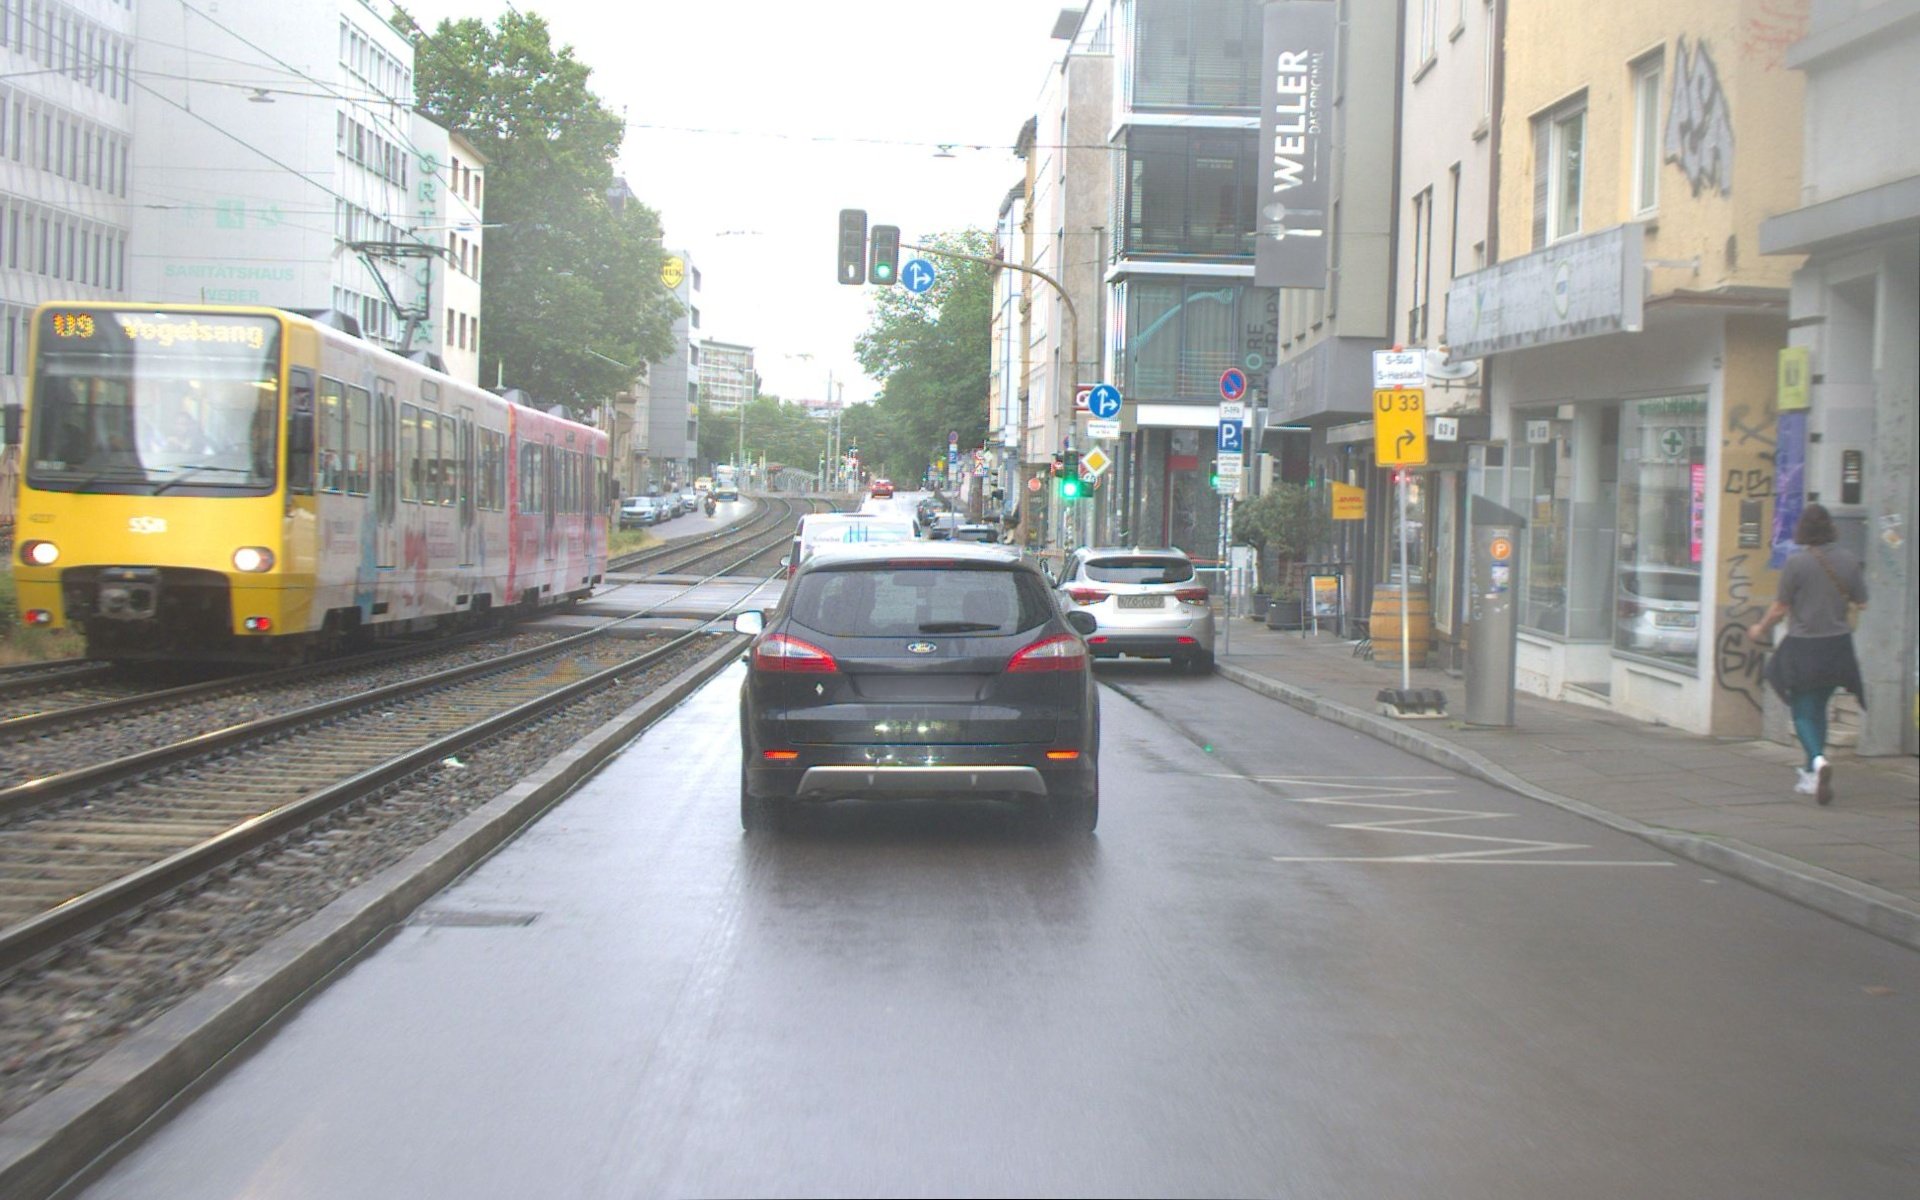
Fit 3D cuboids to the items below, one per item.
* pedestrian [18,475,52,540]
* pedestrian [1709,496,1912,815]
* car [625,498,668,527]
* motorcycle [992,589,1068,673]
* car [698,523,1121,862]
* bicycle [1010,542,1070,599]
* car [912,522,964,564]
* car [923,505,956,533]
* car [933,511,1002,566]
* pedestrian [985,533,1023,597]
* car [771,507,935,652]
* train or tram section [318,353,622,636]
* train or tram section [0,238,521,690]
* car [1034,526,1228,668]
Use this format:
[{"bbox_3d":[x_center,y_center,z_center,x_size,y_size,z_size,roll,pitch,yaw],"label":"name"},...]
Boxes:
[{"bbox_3d":[-25.180,-2.515,93.598,0.740,1.731,0.890,1,1,-5],"label":"pedestrian"},{"bbox_3d":[4.651,0.293,18.841,0.791,1.653,0.721,-5,1,-1],"label":"pedestrian"},{"bbox_3d":[-17.269,-4.846,189.433,1.993,1.514,4.436,2,2,-1],"label":"car"},{"bbox_3d":[1.235,0.544,60.796,1.129,1.456,0.684,0,1,-37],"label":"motorcycle"},{"bbox_3d":[-0.269,0.404,18.560,1.993,1.588,4.272,1,1,-1],"label":"car"},{"bbox_3d":[1.827,-0.680,79.104,0.497,1.254,1.957,1,1,-26],"label":"bicycle"},{"bbox_3d":[-0.871,-2.255,135.193,1.993,1.588,4.572,1,1,-1],"label":"car"},{"bbox_3d":[-1.204,-4.664,198.386,1.738,1.484,4.001,2,2,-2],"label":"car"},{"bbox_3d":[0.206,-1.859,103.693,1.993,1.588,4.272,1,1,-1],"label":"car"},{"bbox_3d":[1.093,-0.869,85.386,0.659,1.577,0.780,1,1,-23],"label":"pedestrian"},{"bbox_3d":[-1.376,-0.300,45.745,1.993,1.810,4.271,1,1,0],"label":"car"},{"bbox_3d":[-7.984,-1.634,58.922,2.902,4.036,18.769,1,1,-1],"label":"train or tram section"},{"bbox_3d":[-7.588,-1.341,40.282,2.902,4.036,18.413,1,1,-1],"label":"train or tram section"},{"bbox_3d":[2.004,-0.071,41.554,2.024,1.588,4.621,1,1,-1],"label":"car"}]
